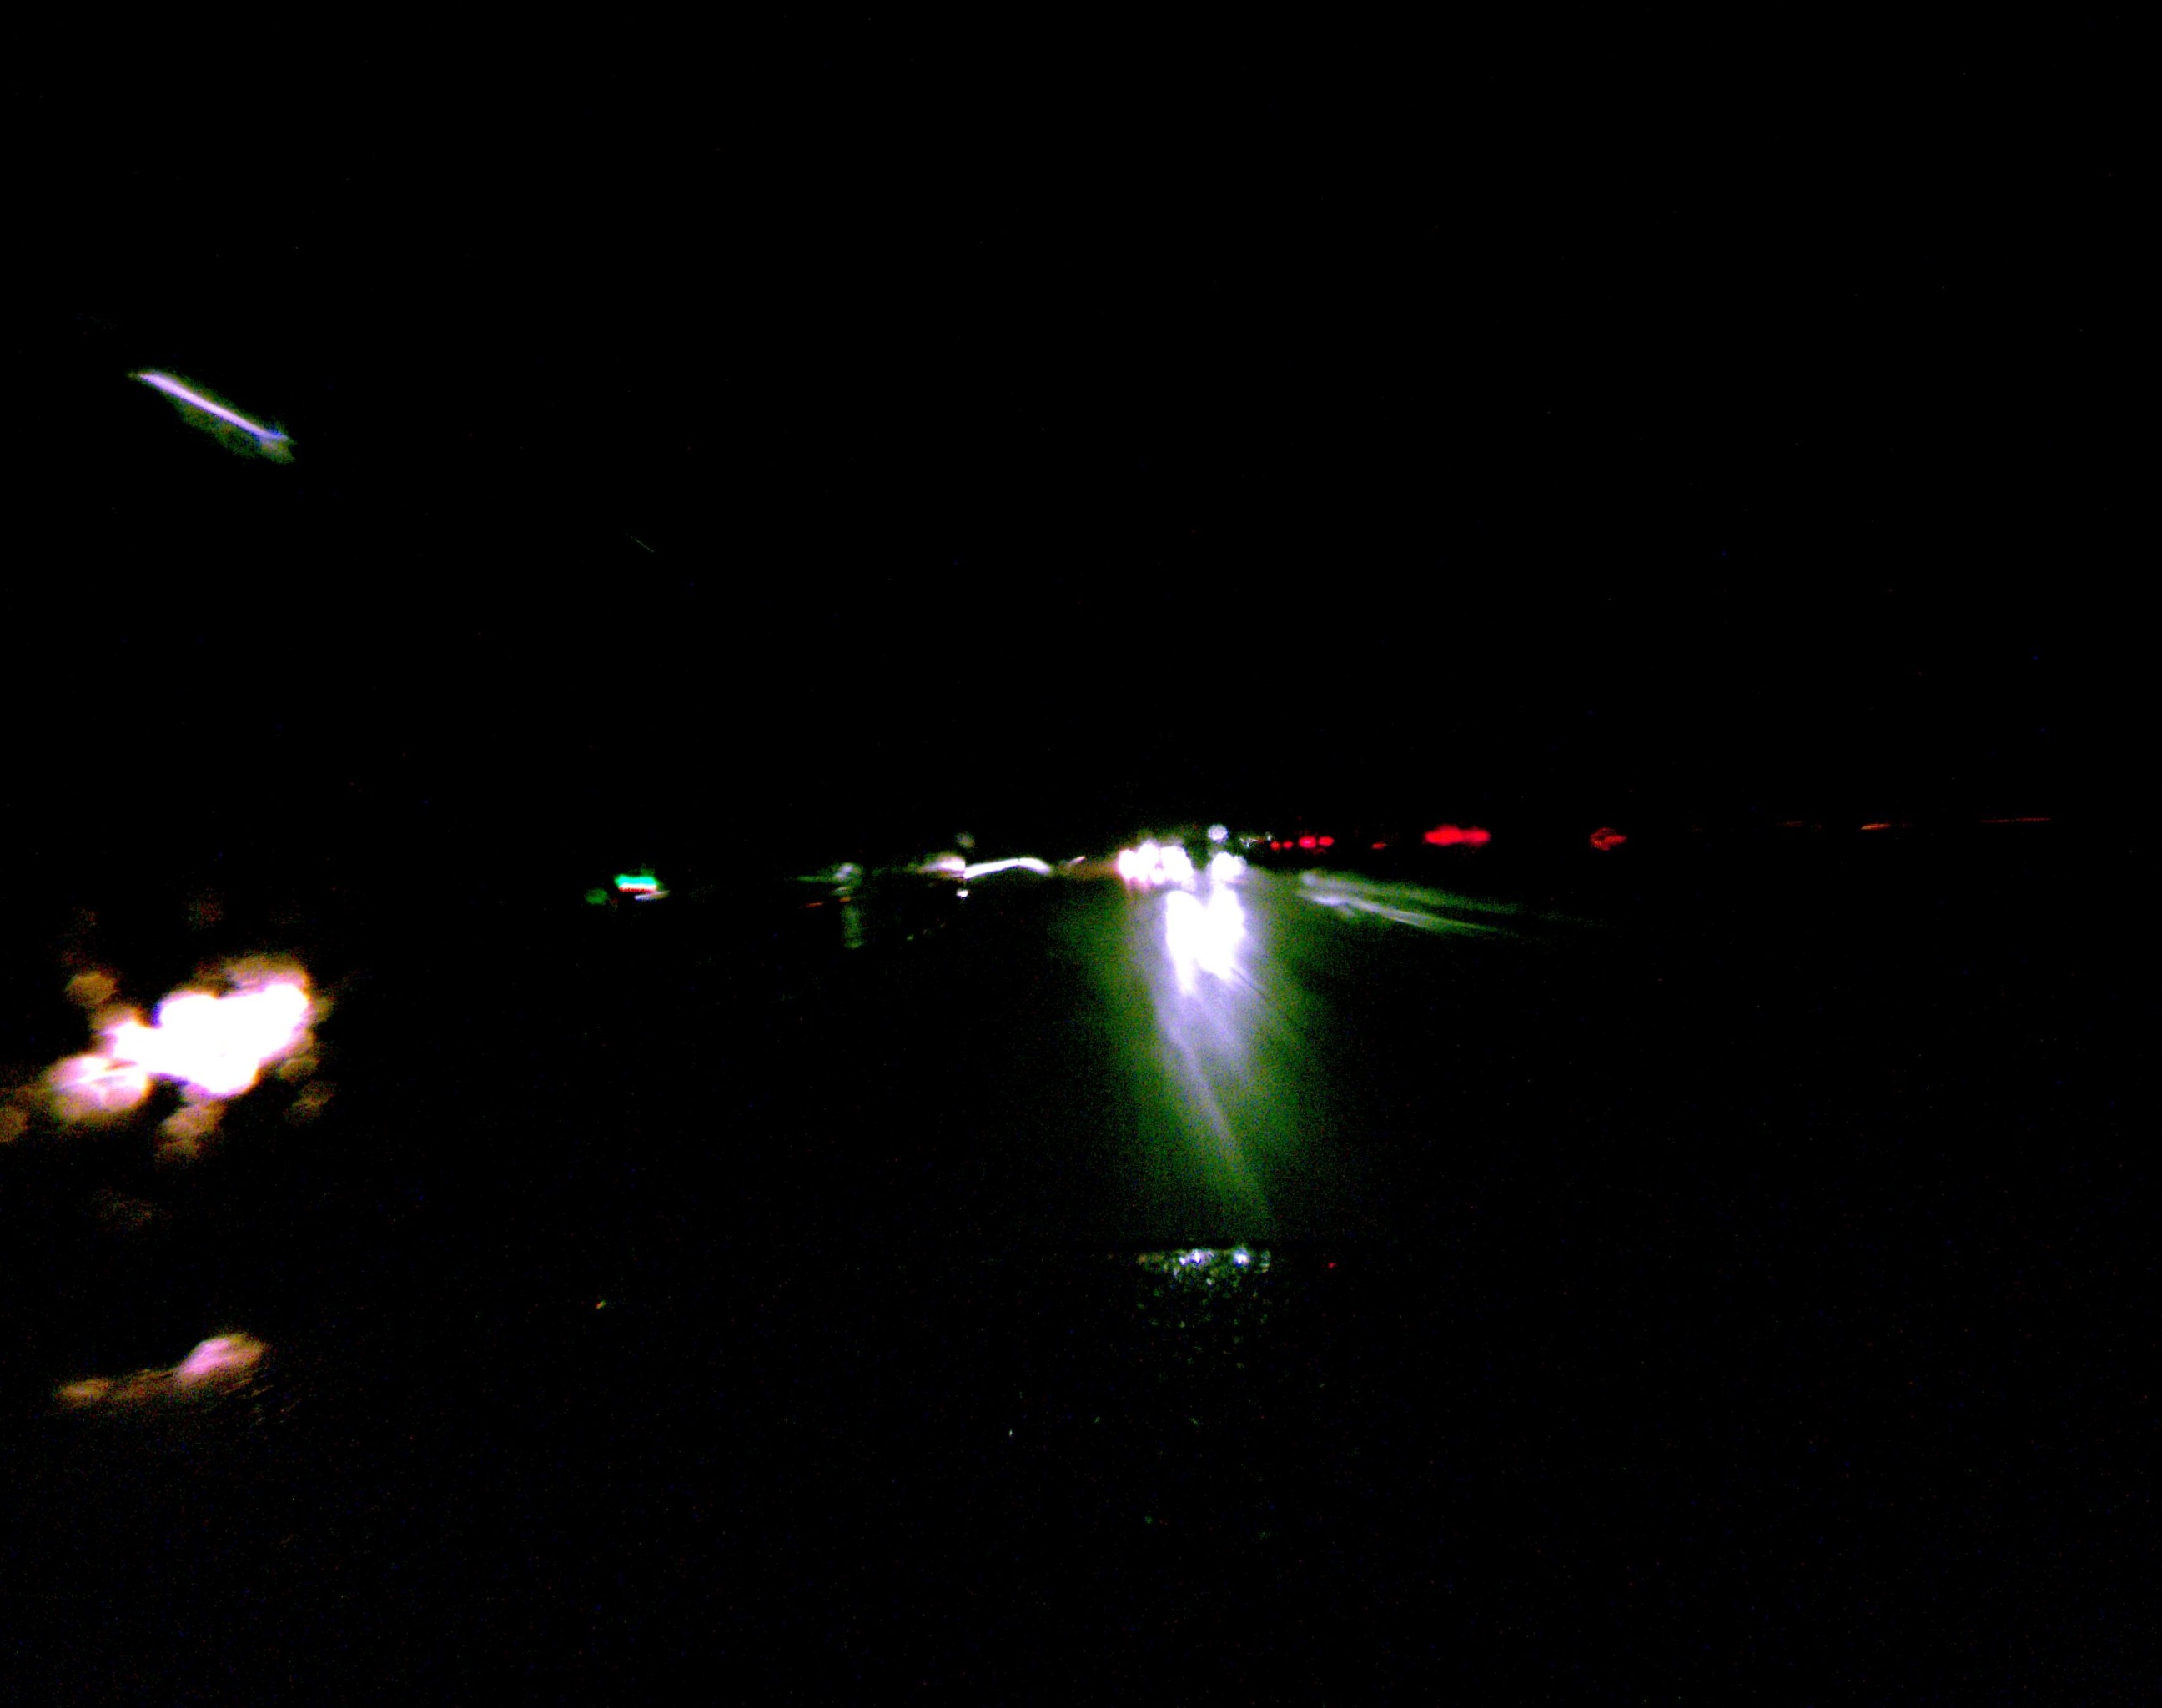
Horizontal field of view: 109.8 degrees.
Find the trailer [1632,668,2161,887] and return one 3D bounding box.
[{"bbox_3d":[24.084,-1.841,24.505,2.780,4.946,14.106,-2,1,2],"label":"trailer"}]

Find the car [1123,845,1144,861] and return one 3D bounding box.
[{"bbox_3d":[5.553,-0.137,80.909,1.998,1.553,4.646,-2,1,2],"label":"car"}]

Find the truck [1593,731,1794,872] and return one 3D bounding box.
[{"bbox_3d":[24.313,-1.919,30.710,2.780,4.947,6.716,-2,1,2],"label":"truck"}]

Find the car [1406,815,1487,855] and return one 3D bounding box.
[{"bbox_3d":[17.411,-0.872,36.427,1.998,1.749,4.000,-2,0,1],"label":"car"}]

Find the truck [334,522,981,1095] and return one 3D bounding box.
[{"bbox_3d":[-4.078,-0.397,12.546,2.503,4.223,13.642,-2,1,2],"label":"truck"}]

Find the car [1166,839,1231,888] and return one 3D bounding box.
[{"bbox_3d":[4.995,0.338,33.073,2.142,1.873,5.555,-2,1,2],"label":"car"}]

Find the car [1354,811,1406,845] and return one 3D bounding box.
[{"bbox_3d":[22.611,-1.924,57.731,2.179,2.427,4.937,-2,1,3],"label":"car"}]

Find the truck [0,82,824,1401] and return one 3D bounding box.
[{"bbox_3d":[-4.290,-0.315,5.466,2.503,4.223,5.982,-2,1,2],"label":"truck"}]

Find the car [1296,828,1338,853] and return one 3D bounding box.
[{"bbox_3d":[16.318,-0.943,52.771,1.880,1.618,4.001,-2,0,4],"label":"car"}]

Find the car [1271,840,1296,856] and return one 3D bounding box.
[{"bbox_3d":[21.775,-0.655,81.981,1.880,1.618,4.001,-2,0,4],"label":"car"}]
